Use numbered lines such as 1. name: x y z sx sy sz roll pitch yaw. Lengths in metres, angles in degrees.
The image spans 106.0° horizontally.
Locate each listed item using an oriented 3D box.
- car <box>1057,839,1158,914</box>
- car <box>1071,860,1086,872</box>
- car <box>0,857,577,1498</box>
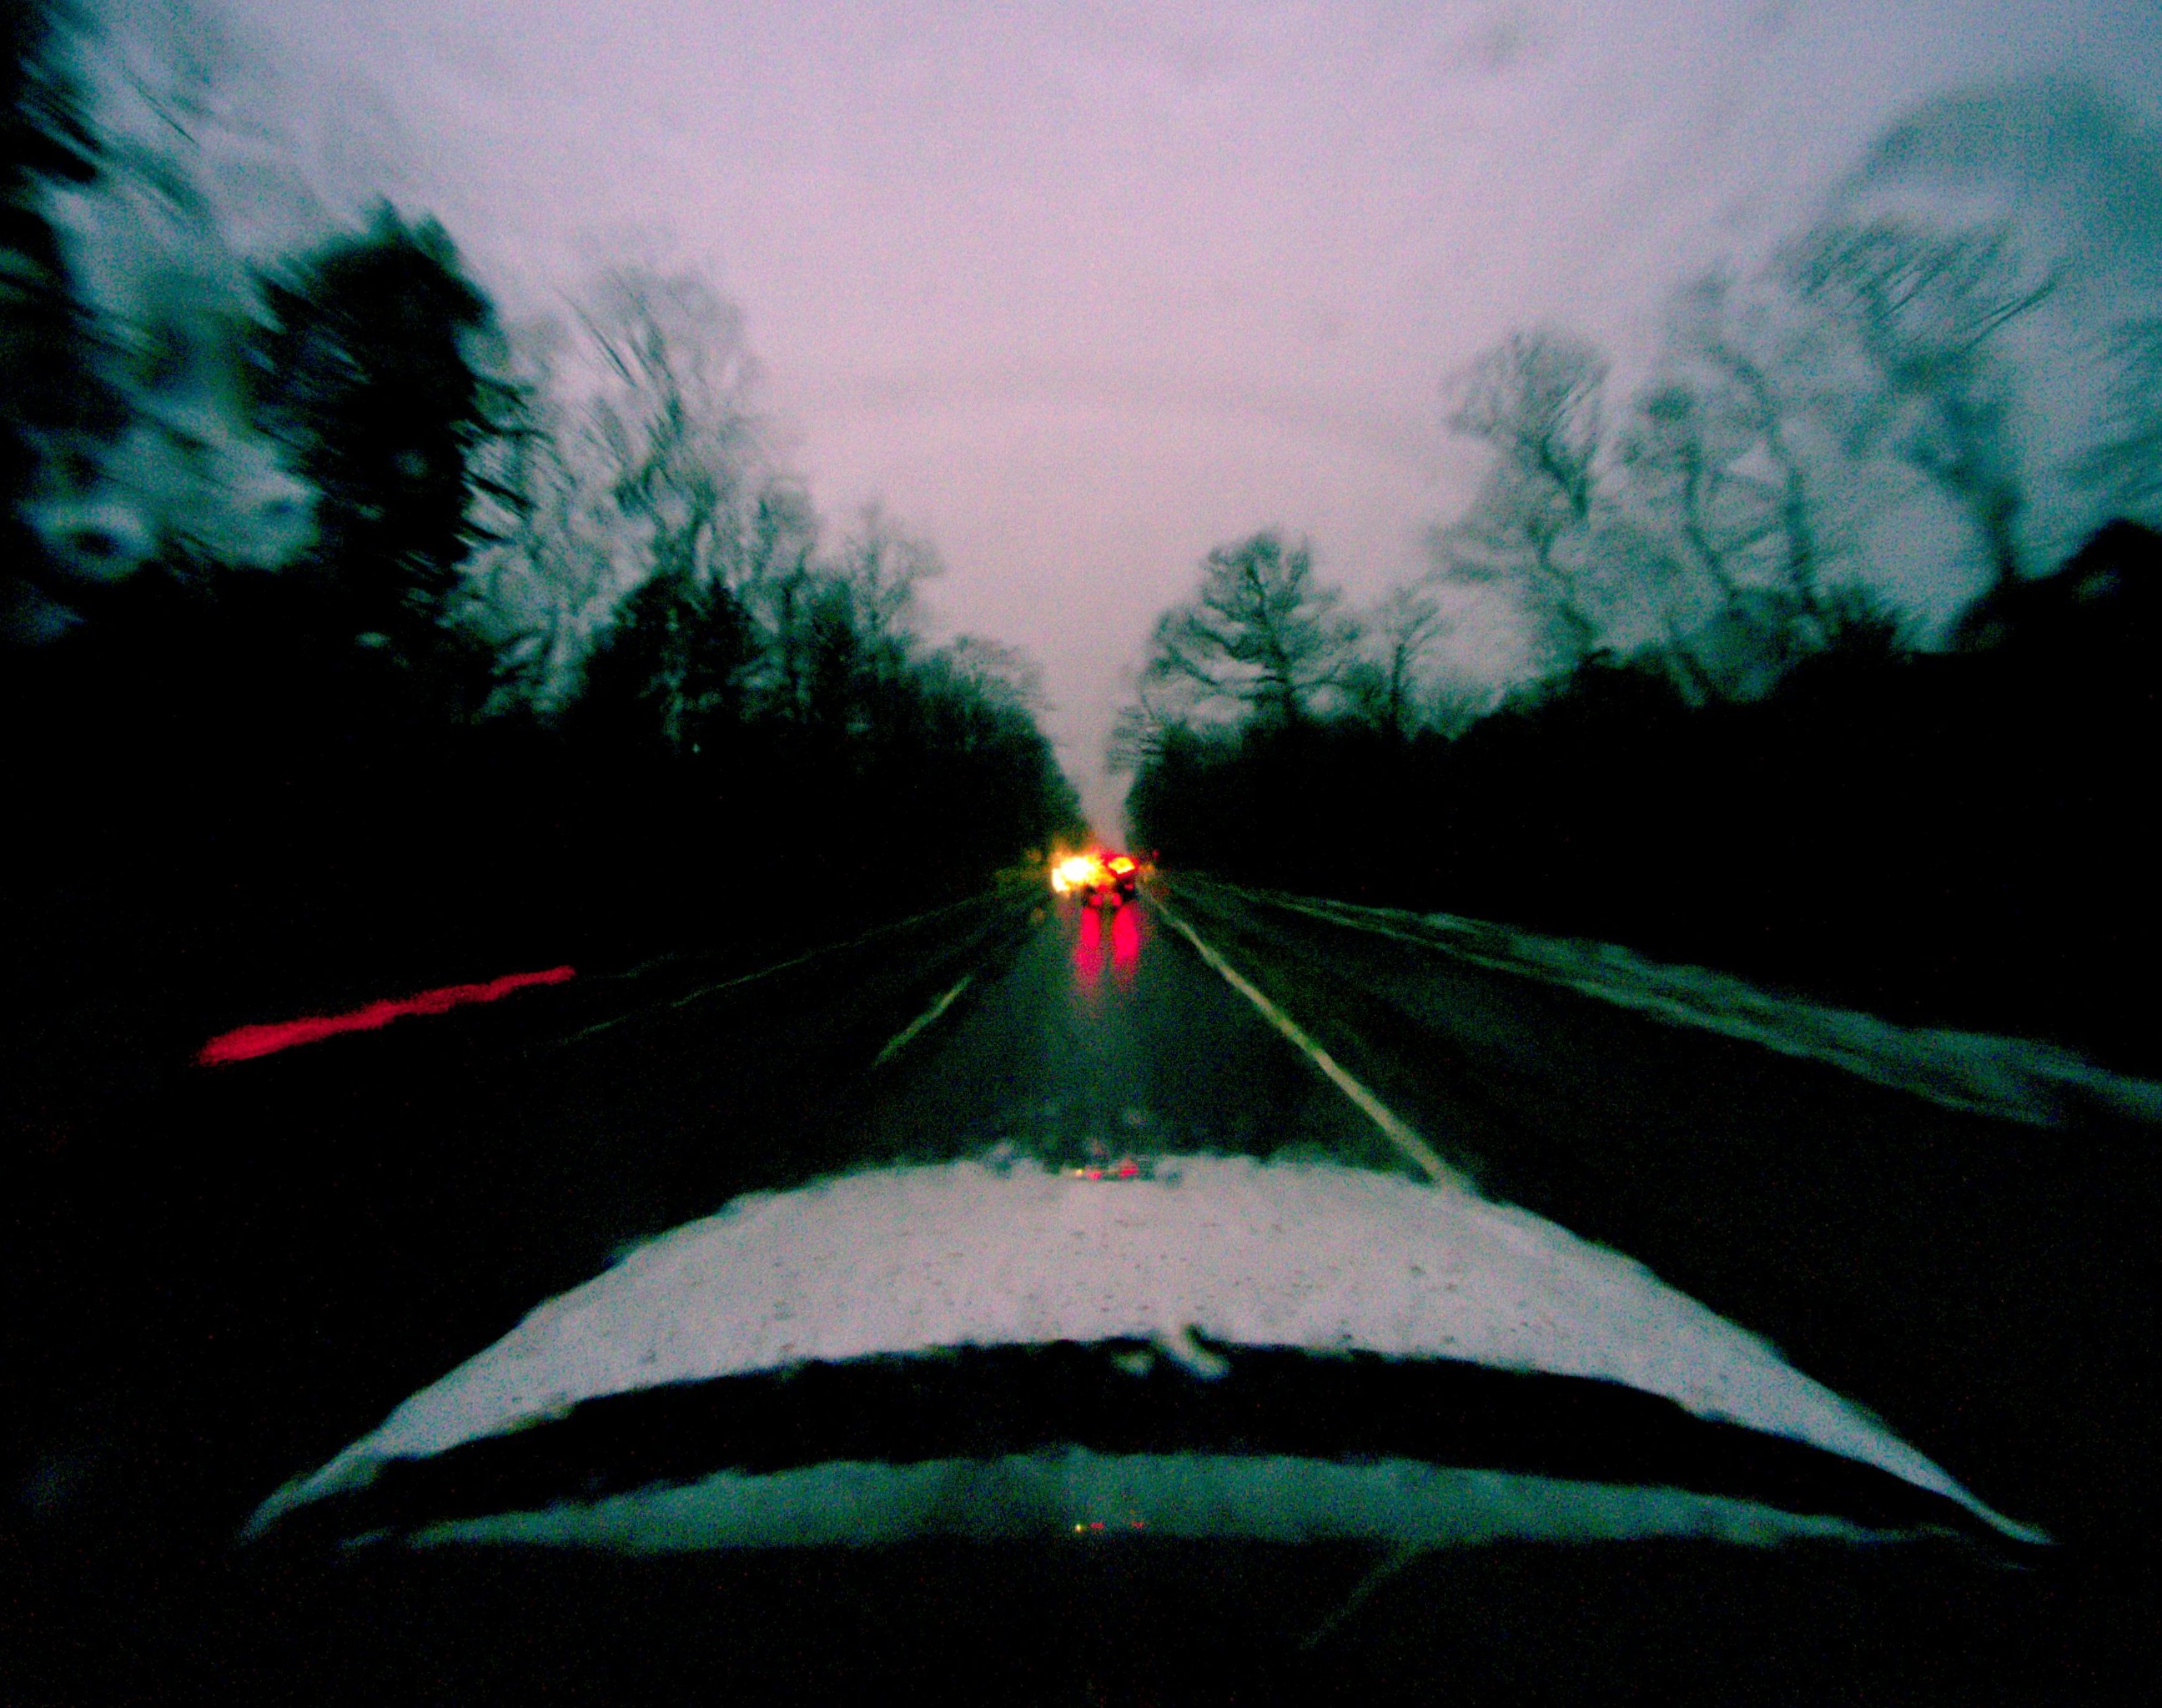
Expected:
1. car: 0.994 0.744 29.183 3.171 2.387 6.640 0 -1 3
2. car: -0.321 1.504 104.011 1.685 1.420 4.002 -2 0 2
3. car: -3.702 0.846 1.655 1.966 1.568 4.932 -3 0 4
